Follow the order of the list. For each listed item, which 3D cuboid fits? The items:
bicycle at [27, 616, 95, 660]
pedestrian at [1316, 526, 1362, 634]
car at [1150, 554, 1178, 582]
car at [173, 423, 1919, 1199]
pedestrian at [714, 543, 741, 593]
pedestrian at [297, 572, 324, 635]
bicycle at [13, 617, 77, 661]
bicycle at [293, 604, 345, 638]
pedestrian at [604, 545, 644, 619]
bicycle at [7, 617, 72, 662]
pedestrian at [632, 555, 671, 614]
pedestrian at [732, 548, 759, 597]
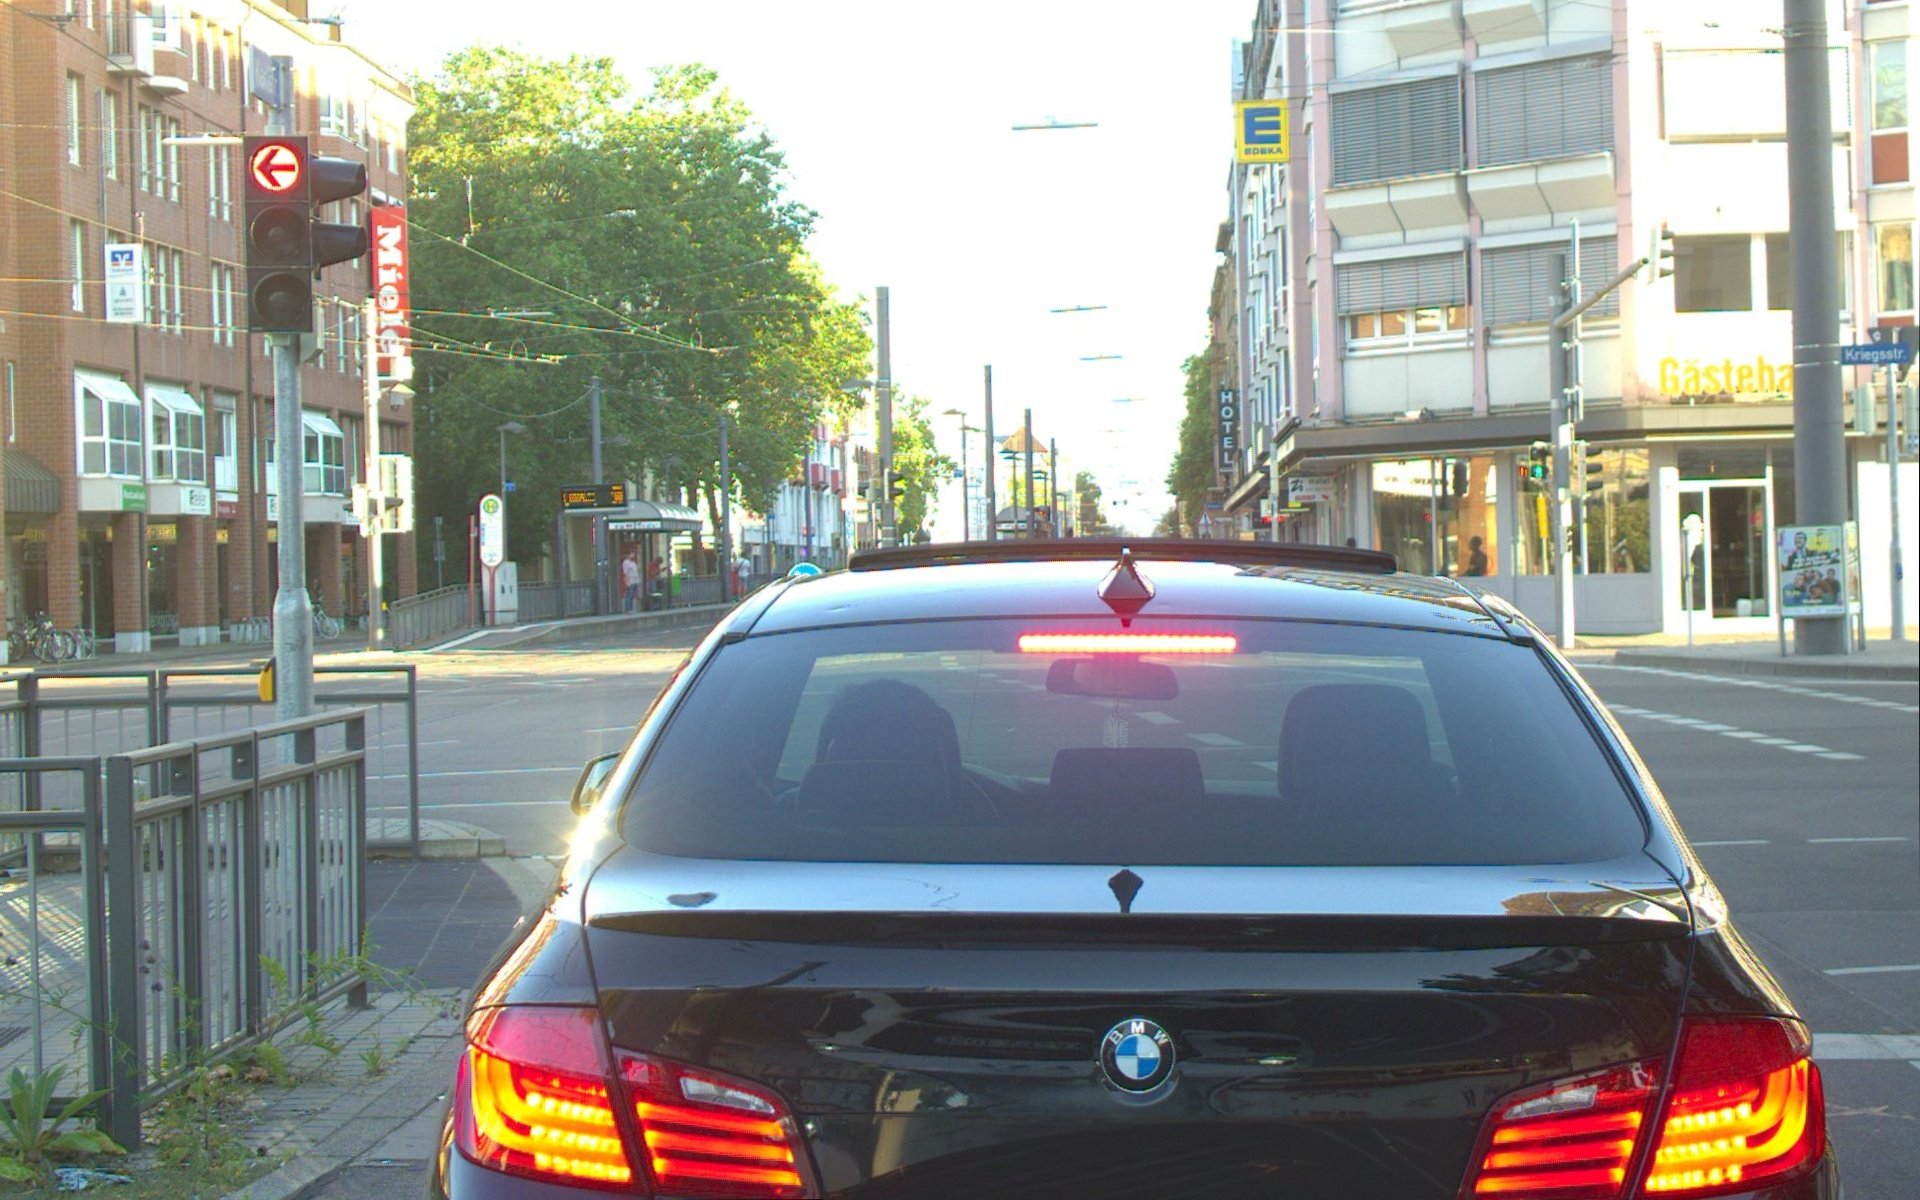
[{"bbox_3d":[-19.420,0.820,74.274,1.412,0.919,0.444,0,1,-12],"label":"bicycle"},{"bbox_3d":[6.583,-0.352,59.682,0.684,1.848,0.671,-1,1,0],"label":"pedestrian"},{"bbox_3d":[11.508,-1.813,193.713,1.473,1.509,3.096,-1,1,2],"label":"car"},{"bbox_3d":[0.170,0.585,5.488,1.993,1.579,4.000,1,1,-1],"label":"car"},{"bbox_3d":[-7.905,-1.106,116.827,0.723,1.675,0.991,-1,1,6],"label":"pedestrian"},{"bbox_3d":[-17.712,0.093,93.766,0.486,1.675,0.655,-1,1,7],"label":"pedestrian"},{"bbox_3d":[-19.392,0.822,72.877,1.285,0.919,0.349,0,1,-12],"label":"bicycle"},{"bbox_3d":[-17.705,0.578,95.009,1.412,0.919,0.403,0,1,-10],"label":"bicycle"},{"bbox_3d":[-9.179,-0.505,93.858,0.988,2.007,0.726,0,1,2],"label":"pedestrian"},{"bbox_3d":[-19.373,0.829,72.349,1.286,0.919,0.349,0,1,0],"label":"bicycle"},{"bbox_3d":[-8.880,-0.444,99.109,0.988,1.675,0.726,-1,1,2],"label":"pedestrian"},{"bbox_3d":[-7.402,-0.964,118.760,0.723,1.675,0.991,-1,1,6],"label":"pedestrian"}]
